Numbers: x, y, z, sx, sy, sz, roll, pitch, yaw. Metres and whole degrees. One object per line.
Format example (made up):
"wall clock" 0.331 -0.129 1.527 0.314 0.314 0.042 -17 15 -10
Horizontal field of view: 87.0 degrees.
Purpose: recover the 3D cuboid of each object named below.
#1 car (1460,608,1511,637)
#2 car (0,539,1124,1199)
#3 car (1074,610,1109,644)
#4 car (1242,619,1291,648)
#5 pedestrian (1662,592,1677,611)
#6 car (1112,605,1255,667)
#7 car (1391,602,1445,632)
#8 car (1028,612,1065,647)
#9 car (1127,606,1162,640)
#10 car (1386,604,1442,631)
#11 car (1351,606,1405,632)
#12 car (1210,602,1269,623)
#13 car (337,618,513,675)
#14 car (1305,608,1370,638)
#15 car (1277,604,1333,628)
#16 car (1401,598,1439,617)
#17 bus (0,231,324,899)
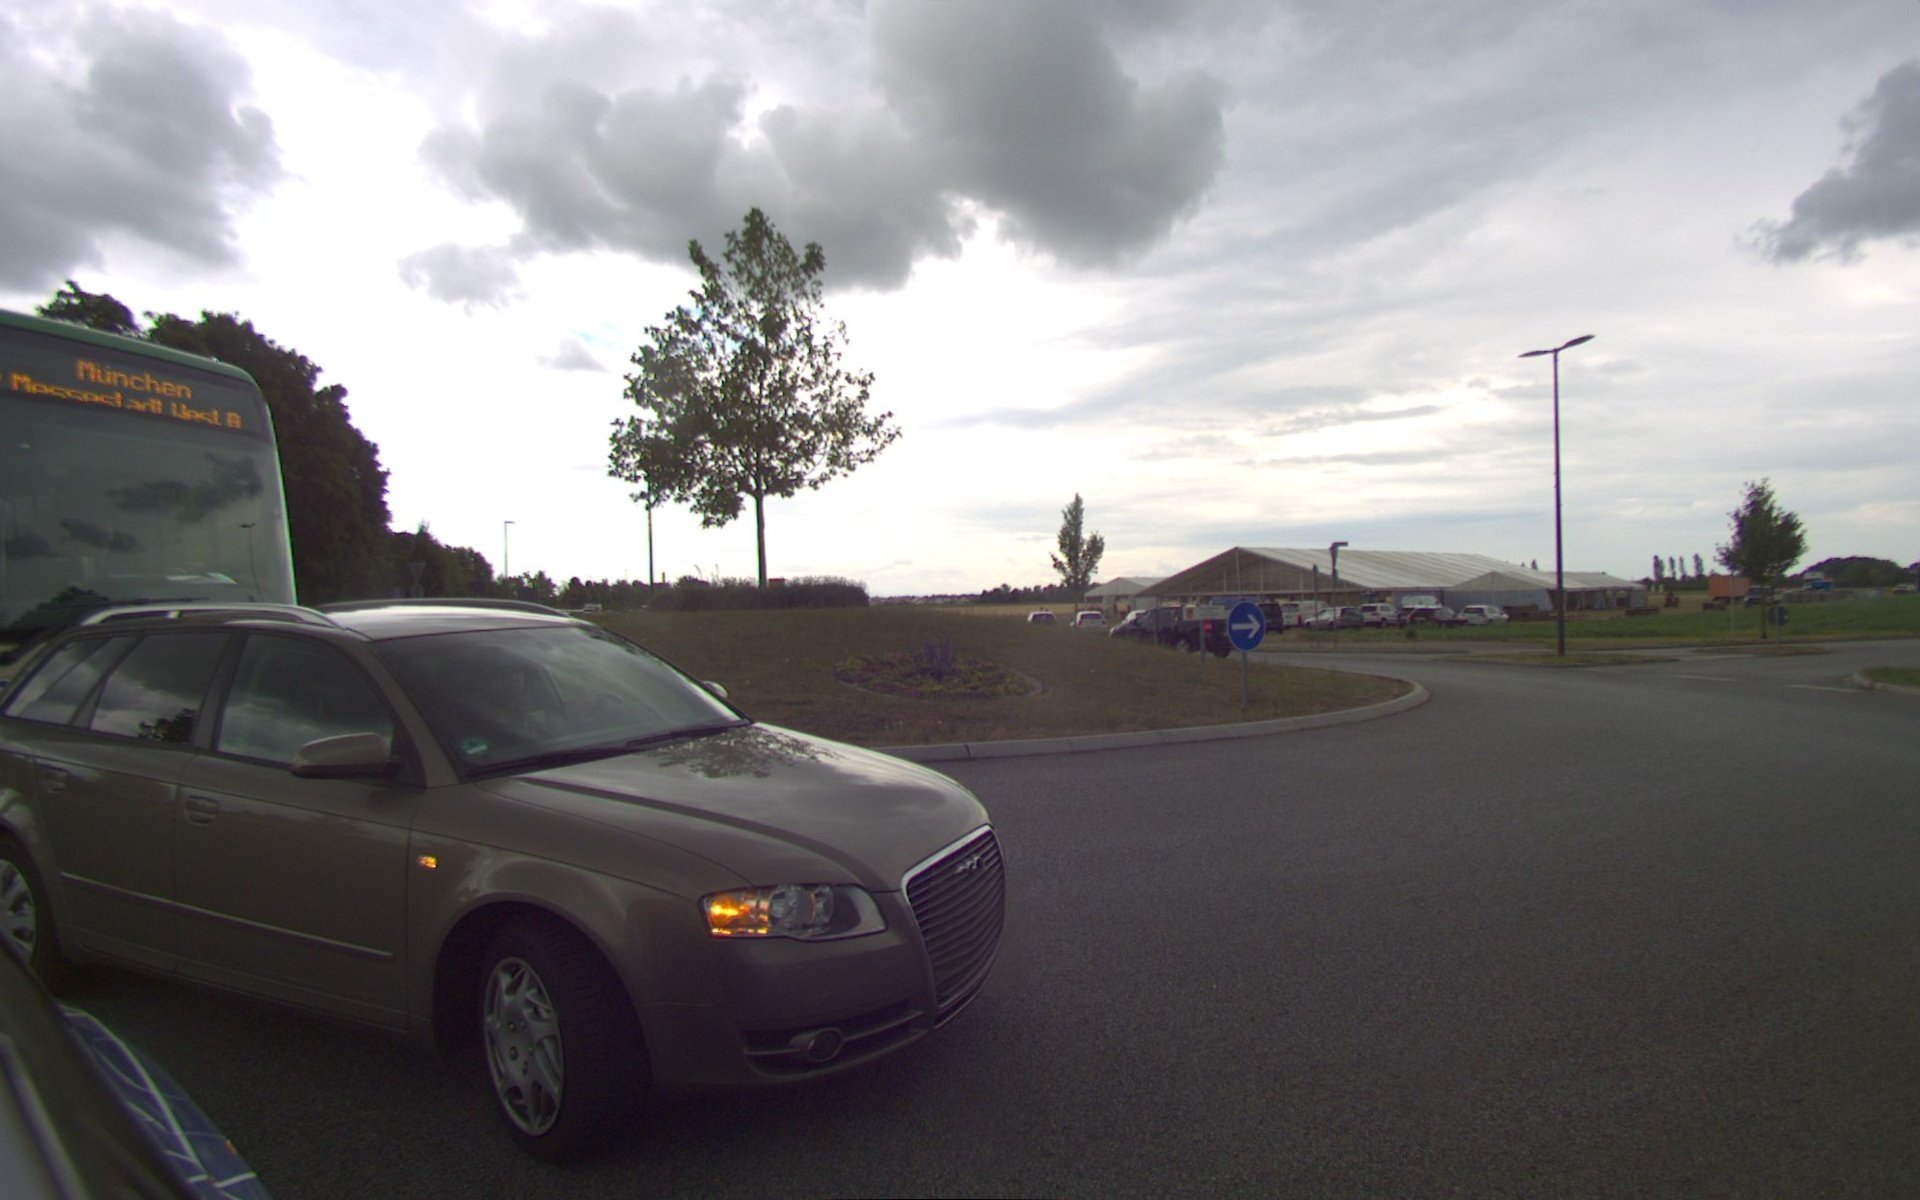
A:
"car" 31.590 1.338 60.834 1.732 1.565 3.944 -2 -1 43
"car" -1.836 0.678 3.759 4.514 1.476 1.768 -2 -1 25
"car" 7.227 1.437 55.465 1.697 1.564 3.989 -3 1 9
"car" 16.727 1.797 55.355 1.929 1.453 3.989 -1 0 8
"pedestrian" 78.434 0.206 111.874 1.044 2.029 1.053 -1 0 -38
"car" 6.379 1.008 29.435 1.743 1.575 4.293 -3 0 -25
"car" 25.870 0.940 57.278 1.616 1.619 3.868 -1 0 6
"car" 4.792 1.592 55.647 1.697 1.564 3.989 -3 1 9
"car" 10.137 1.243 55.745 1.697 1.564 3.989 -3 1 9
"car" 28.423 1.076 63.277 3.771 1.619 1.837 -1 -1 -43
"car" 26.964 1.215 65.249 3.771 1.619 1.837 -1 -1 -43
"car" 20.553 0.929 74.504 3.931 1.453 1.958 -1 0 -29
"car" -16.465 1.383 31.541 1.953 1.509 5.267 -2 0 11
"car" 21.600 1.299 58.067 1.706 1.619 3.884 -1 0 -10
"car" 23.136 1.064 67.799 3.940 1.453 1.953 -1 0 -44
"car" 42.504 0.657 93.522 3.771 1.618 1.837 -1 0 -42
"bus" -7.807 -0.159 6.284 6.473 3.283 2.518 0 -1 9
